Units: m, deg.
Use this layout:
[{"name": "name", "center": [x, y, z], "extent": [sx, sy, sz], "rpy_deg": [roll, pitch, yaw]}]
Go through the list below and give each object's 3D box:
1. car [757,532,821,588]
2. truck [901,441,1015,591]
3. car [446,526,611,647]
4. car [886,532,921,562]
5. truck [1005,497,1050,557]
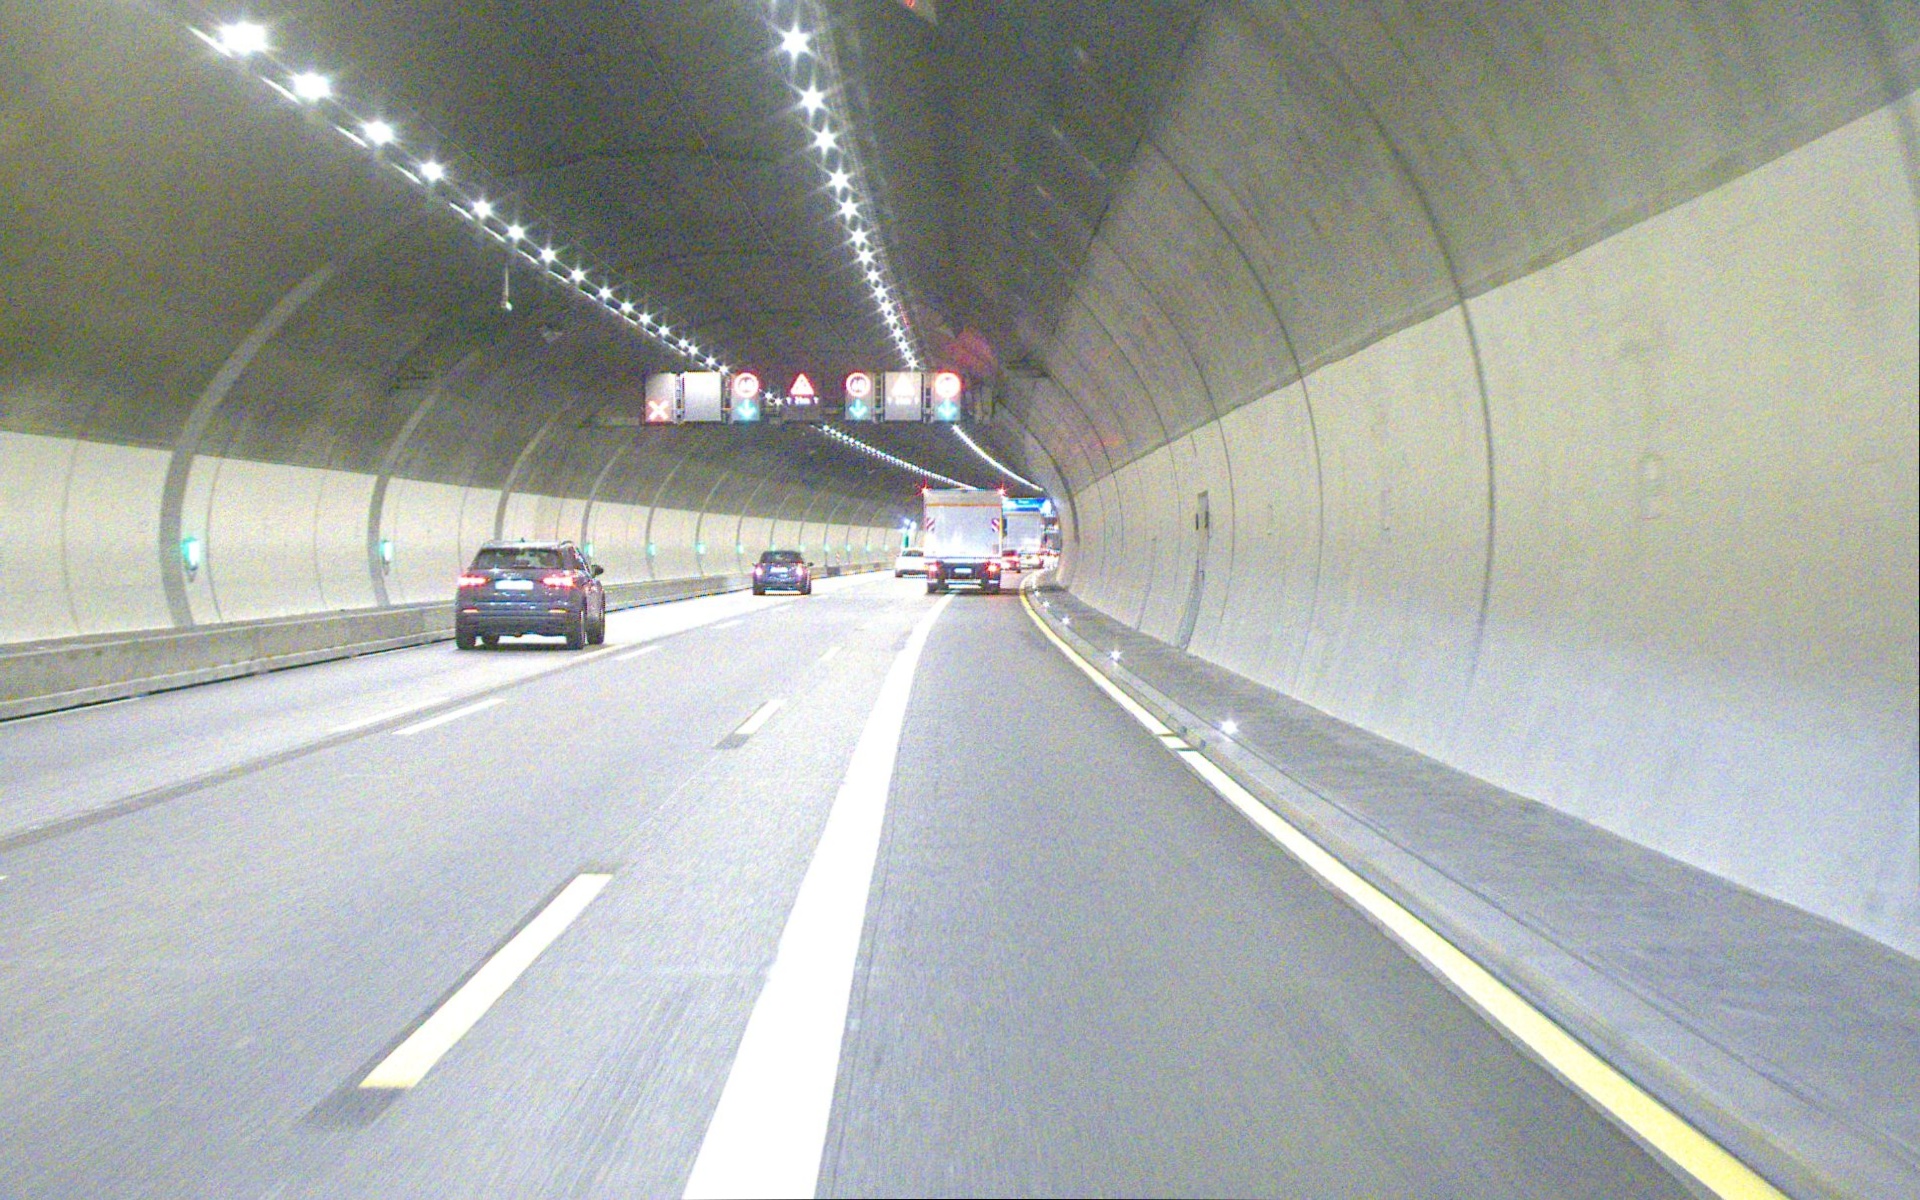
[{"name": "car", "center": [-5.319, -1.270, 107.335], "extent": [1.812, 1.514, 4.001], "rpy_deg": [-2, 3, -1]}, {"name": "truck", "center": [-0.214, -2.872, 118.804], "extent": [3.278, 4.634, 17.288], "rpy_deg": [-3, 1, -1]}, {"name": "car", "center": [-6.254, -0.231, 50.182], "extent": [1.812, 1.612, 4.000], "rpy_deg": [-2, 2, 1]}, {"name": "car", "center": [-2.780, -2.616, 168.956], "extent": [1.650, 1.270, 4.001], "rpy_deg": [-2, 3, -1]}, {"name": "truck", "center": [4.886, -5.275, 247.251], "extent": [2.923, 4.034, 14.030], "rpy_deg": [-3, 1, 2]}]
